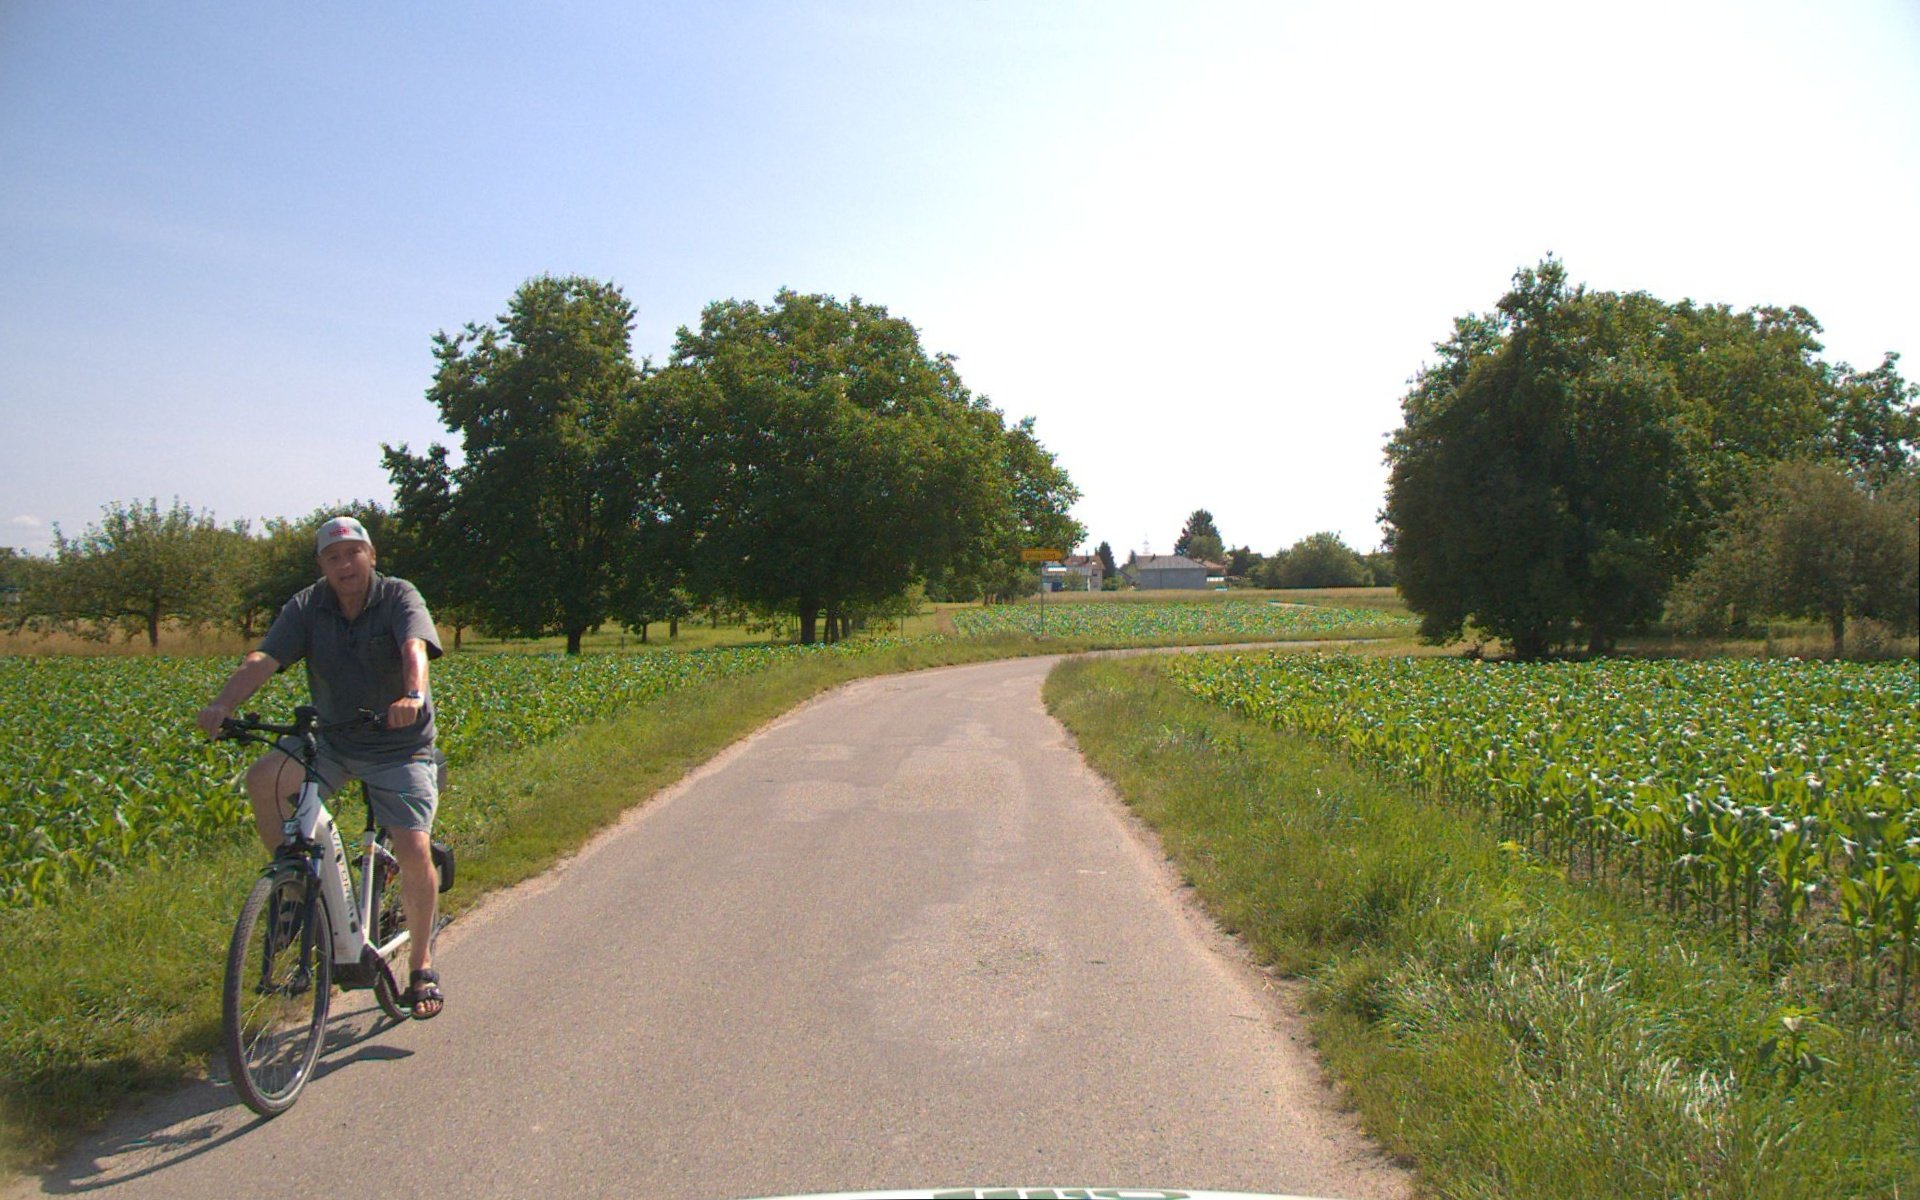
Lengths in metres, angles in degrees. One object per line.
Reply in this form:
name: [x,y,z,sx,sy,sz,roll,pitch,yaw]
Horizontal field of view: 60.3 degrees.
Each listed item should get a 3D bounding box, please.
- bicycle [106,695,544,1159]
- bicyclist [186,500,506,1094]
bicycle: [-2.011,0.964,5.569,0.735,1.147,1.907,-3,0,-2]
bicyclist: [-2.021,0.614,5.537,0.735,1.822,0.716,-3,0,-2]
